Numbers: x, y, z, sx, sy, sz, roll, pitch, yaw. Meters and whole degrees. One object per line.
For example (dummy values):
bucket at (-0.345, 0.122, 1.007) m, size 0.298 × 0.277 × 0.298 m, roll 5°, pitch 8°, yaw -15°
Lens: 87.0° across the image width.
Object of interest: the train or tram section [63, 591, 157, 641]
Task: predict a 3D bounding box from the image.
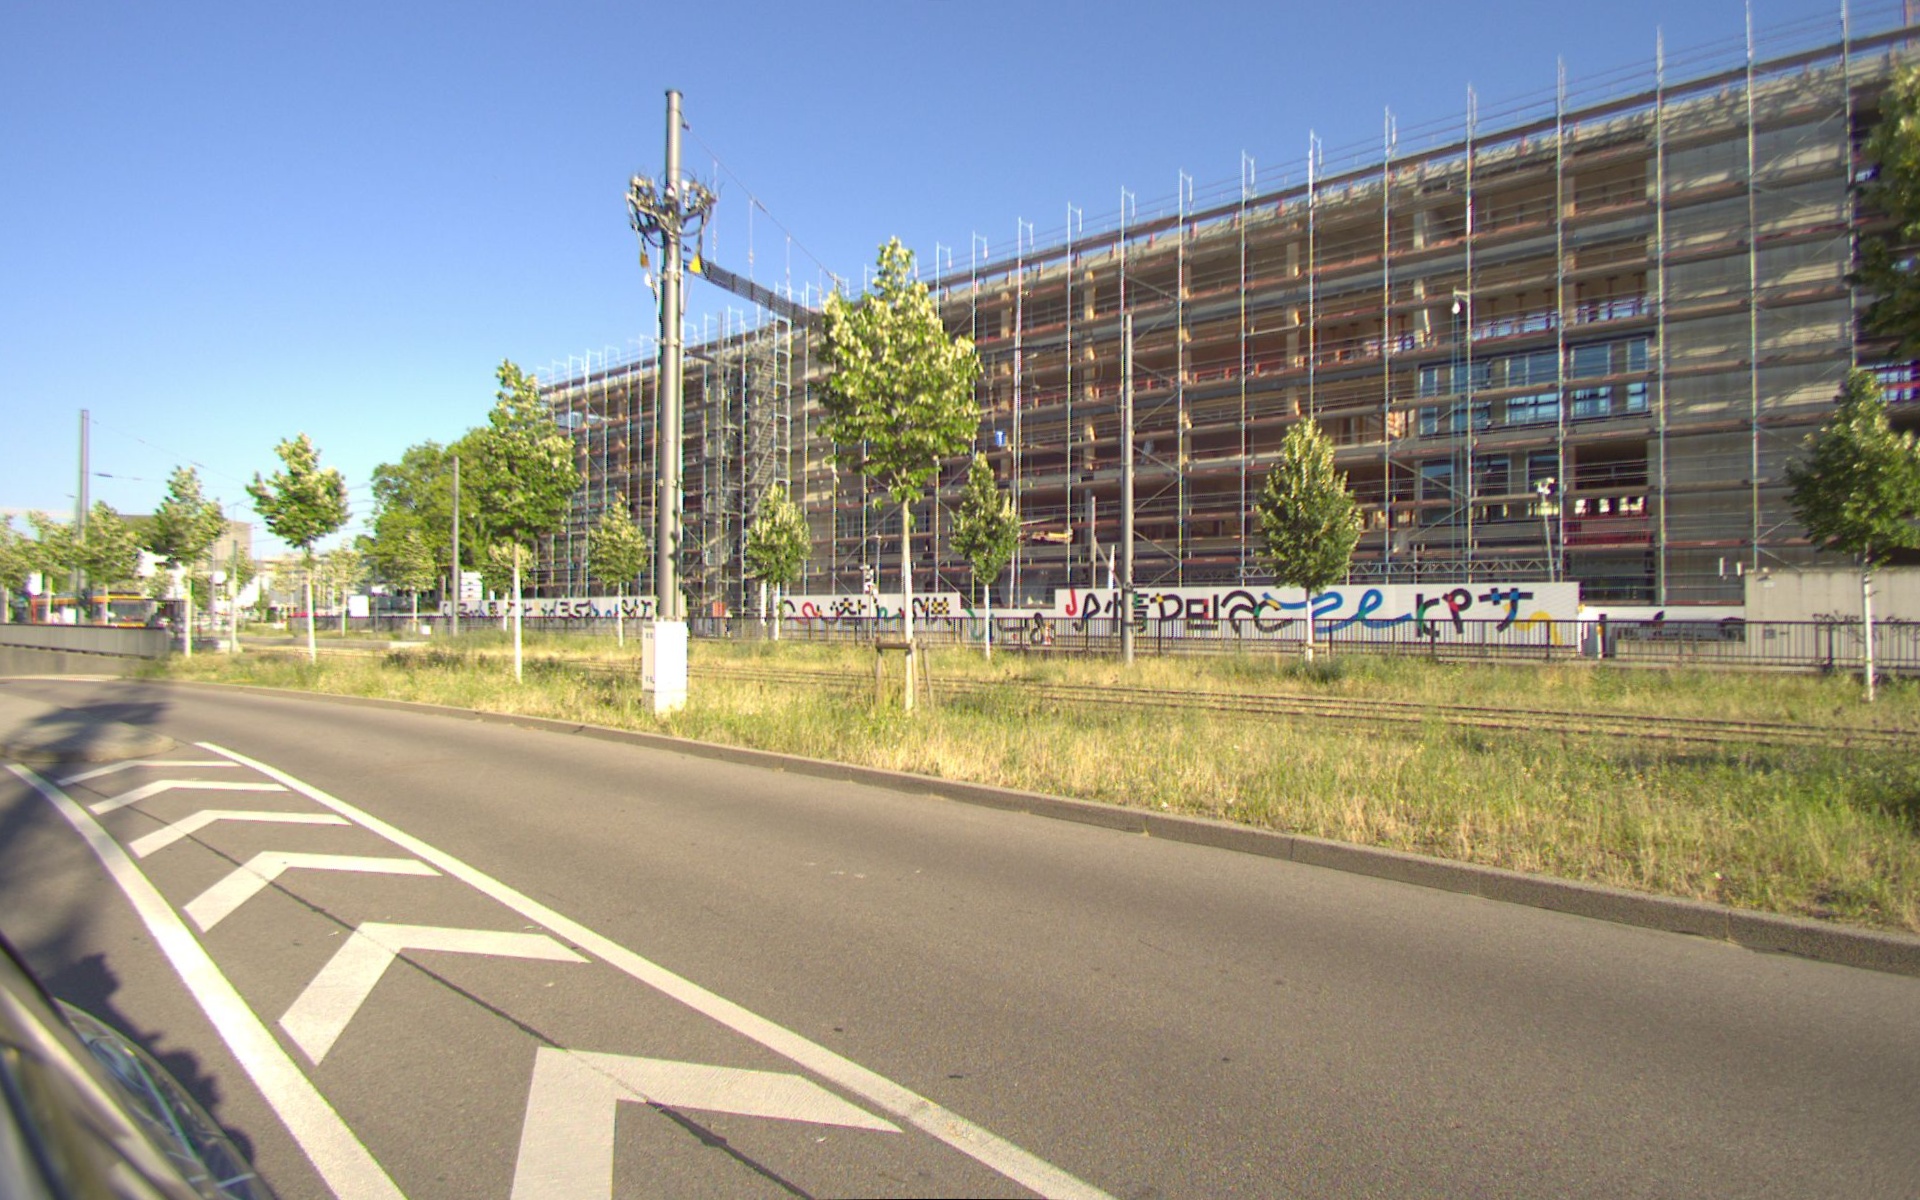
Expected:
train or tram section at (-62.621, 1.118, 74.371) m, size 12.619 × 3.423 × 2.917 m, roll -1°, pitch 0°, yaw 39°

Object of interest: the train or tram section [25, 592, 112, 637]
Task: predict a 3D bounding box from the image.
train or tram section at (-73.251, 1.160, 83.017) m, size 14.749 × 3.423 × 2.917 m, roll -1°, pitch 0°, yaw 39°
